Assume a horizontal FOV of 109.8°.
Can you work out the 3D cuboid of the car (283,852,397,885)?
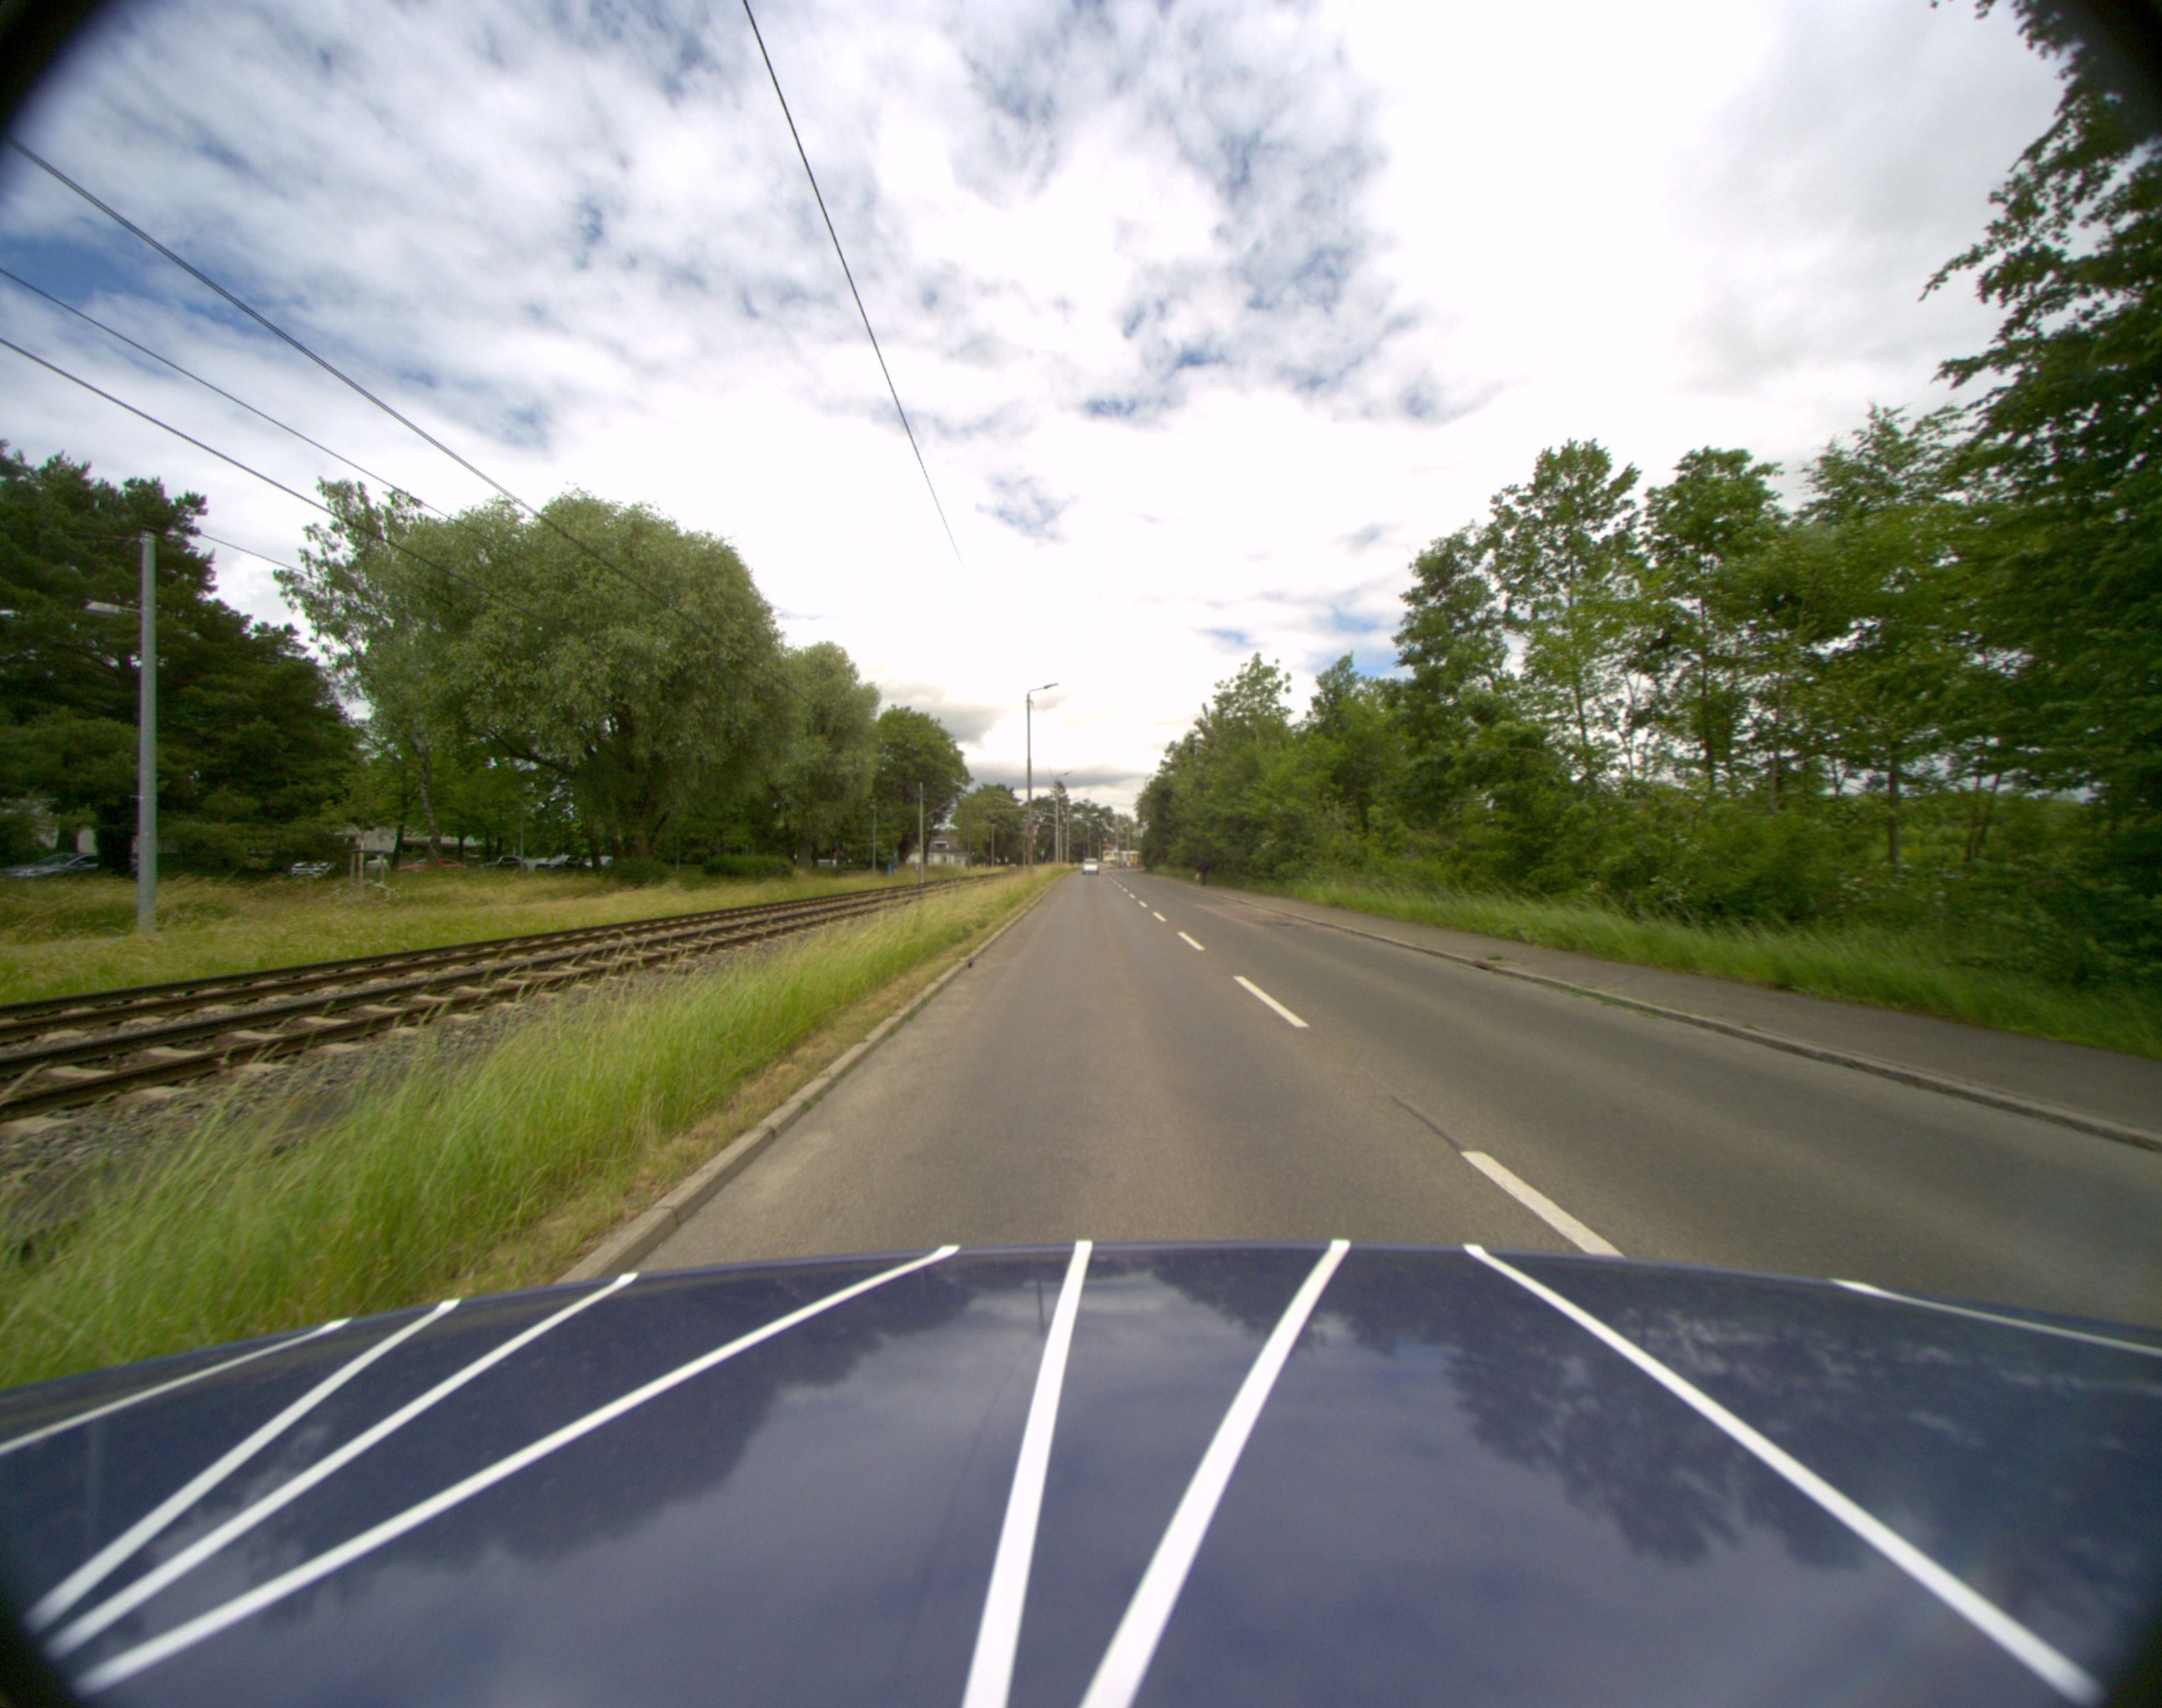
[{"bbox_3d":[-40.401,0.758,41.601,1.998,1.690,4.229,-1,0,1],"label":"car"}]

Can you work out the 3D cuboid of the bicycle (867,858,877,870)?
[{"bbox_3d":[-21.246,1.008,77.331,0.582,1.239,1.929,-1,0,-3],"label":"bicycle"}]

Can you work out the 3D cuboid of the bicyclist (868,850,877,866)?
[{"bbox_3d":[-21.254,0.402,77.460,0.582,1.686,0.935,-1,0,-3],"label":"bicyclist"}]

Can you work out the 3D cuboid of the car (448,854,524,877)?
[{"bbox_3d":[-40.163,0.755,51.421,1.998,1.434,4.000,-1,0,1],"label":"car"}]

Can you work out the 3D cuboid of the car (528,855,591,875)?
[{"bbox_3d":[-40.158,0.809,58.617,1.998,1.434,4.000,-1,0,1],"label":"car"}]

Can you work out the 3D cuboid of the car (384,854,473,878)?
[{"bbox_3d":[-40.284,0.717,47.015,1.998,1.434,4.000,-1,0,1],"label":"car"}]

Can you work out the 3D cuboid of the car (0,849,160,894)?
[{"bbox_3d":[-40.556,0.669,30.576,1.998,1.690,4.001,-1,0,3],"label":"car"}]

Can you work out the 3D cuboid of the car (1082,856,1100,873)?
[{"bbox_3d":[1.051,1.080,77.531,1.733,1.638,4.227,-1,-1,2],"label":"car"}]

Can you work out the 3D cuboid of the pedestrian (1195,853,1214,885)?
[{"bbox_3d":[6.879,0.853,42.409,0.870,1.759,0.789,2,0,-4],"label":"pedestrian"}]
